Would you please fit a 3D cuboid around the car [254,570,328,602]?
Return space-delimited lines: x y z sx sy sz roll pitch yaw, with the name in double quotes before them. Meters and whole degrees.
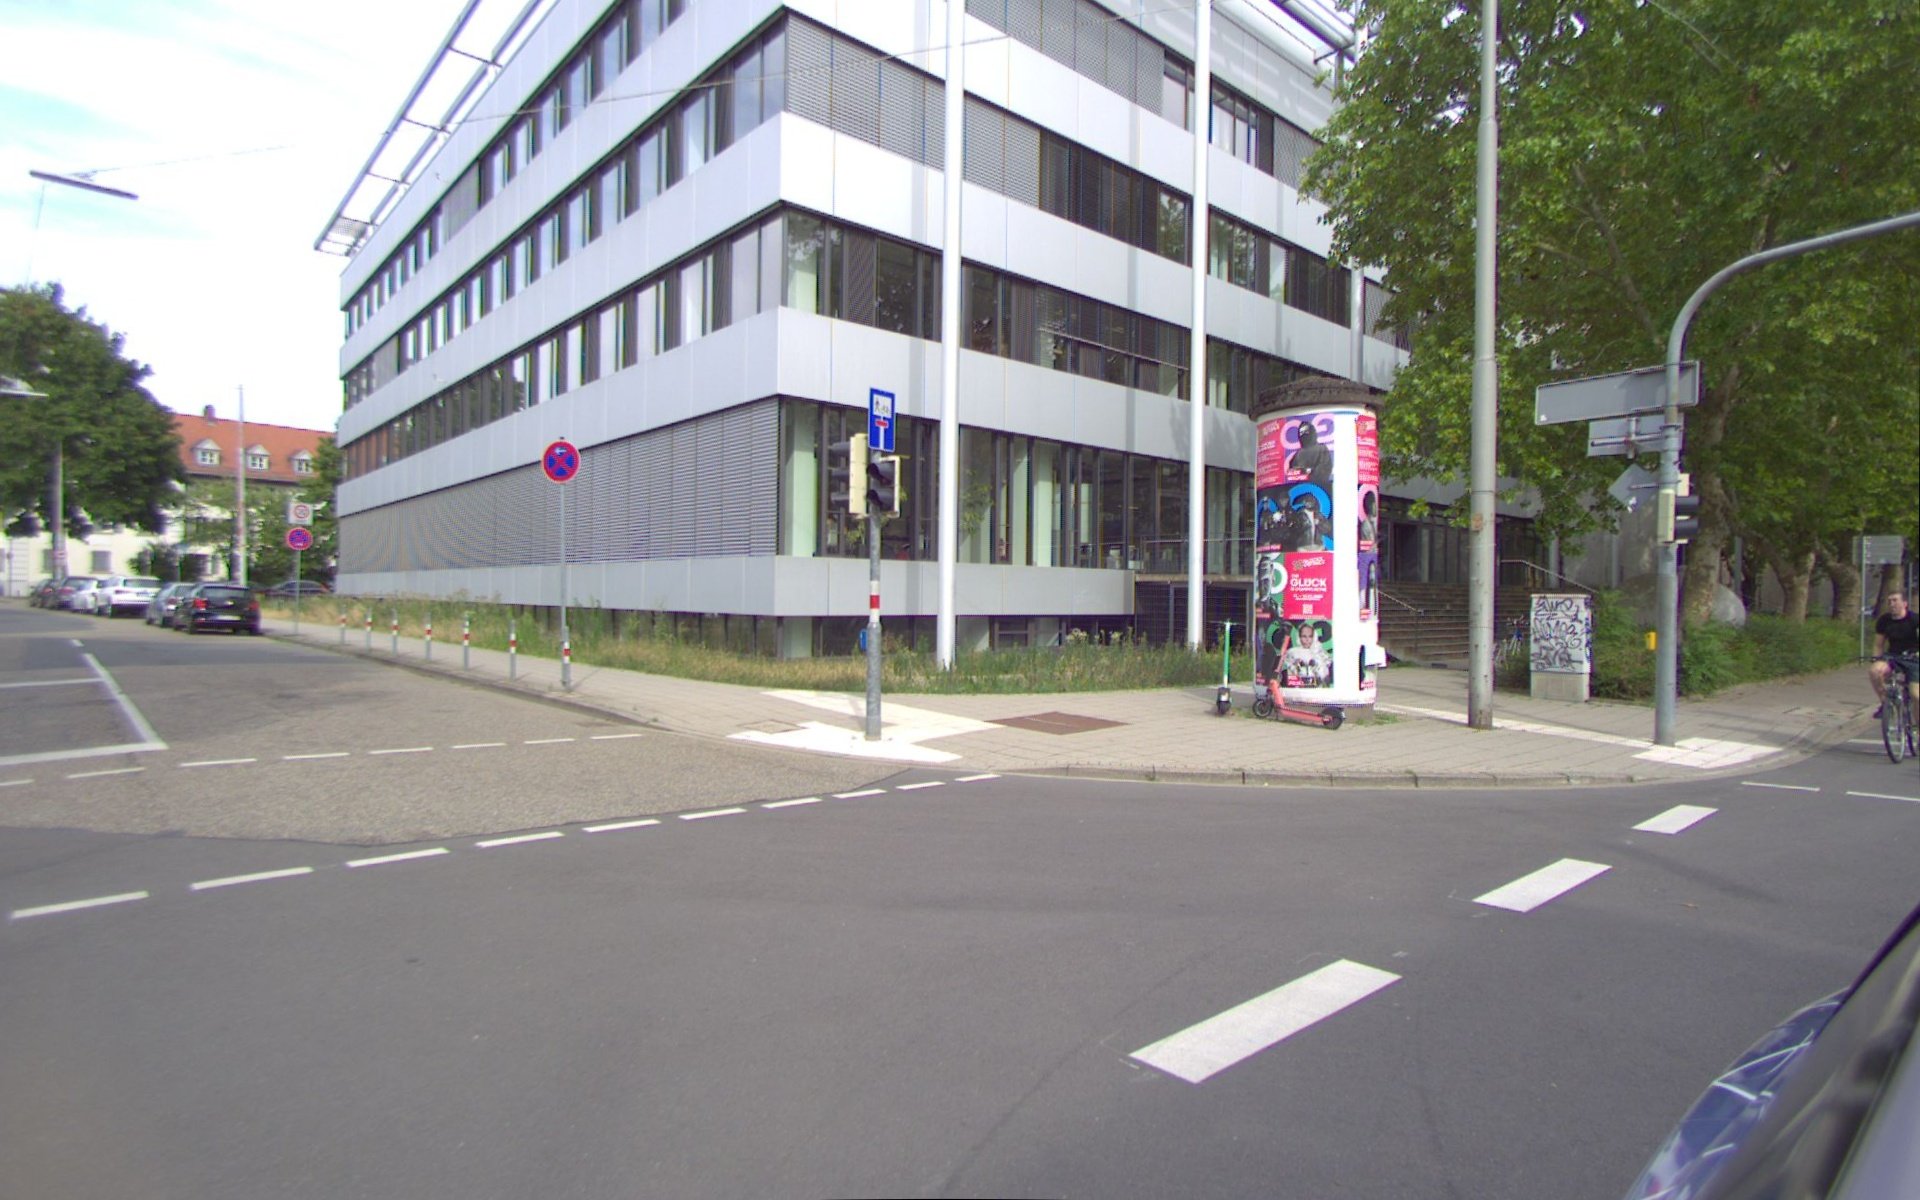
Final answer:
"car" -44.856 -0.913 67.875 3.929 2.039 1.997 1 -2 -40

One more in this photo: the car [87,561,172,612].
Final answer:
"car" -32.601 -0.485 39.684 3.861 1.885 1.925 -1 -1 40

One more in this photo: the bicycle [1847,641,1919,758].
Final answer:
"bicycle" 10.291 1.033 10.921 1.968 1.145 0.772 1 -3 -41

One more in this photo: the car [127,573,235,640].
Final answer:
"car" -25.189 0.231 32.699 3.981 2.039 1.971 -1 -2 40

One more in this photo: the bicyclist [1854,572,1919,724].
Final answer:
"bicyclist" 10.422 0.518 11.091 0.787 1.604 0.772 1 -3 -40

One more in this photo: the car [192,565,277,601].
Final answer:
"car" -42.944 -0.982 59.972 3.930 2.039 1.996 1 -2 -41

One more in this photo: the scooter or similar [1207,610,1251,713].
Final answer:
"scooter or similar" 3.388 0.742 12.757 0.465 1.151 1.305 2 2 15

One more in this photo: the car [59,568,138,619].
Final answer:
"car" -36.661 -0.223 43.042 3.981 2.039 1.971 -1 -2 40

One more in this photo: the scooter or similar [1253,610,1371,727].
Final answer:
"scooter or similar" 4.121 0.772 11.922 0.338 1.224 1.310 1 2 -36

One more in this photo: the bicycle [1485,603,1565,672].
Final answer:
"bicycle" 10.141 0.655 18.149 1.695 1.184 0.699 1 -2 -41

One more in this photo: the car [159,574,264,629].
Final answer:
"car" -21.593 0.074 29.169 3.635 1.462 1.652 -1 -1 40

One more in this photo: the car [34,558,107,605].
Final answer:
"car" -41.045 -0.808 46.683 3.981 2.039 1.971 -1 -2 40
